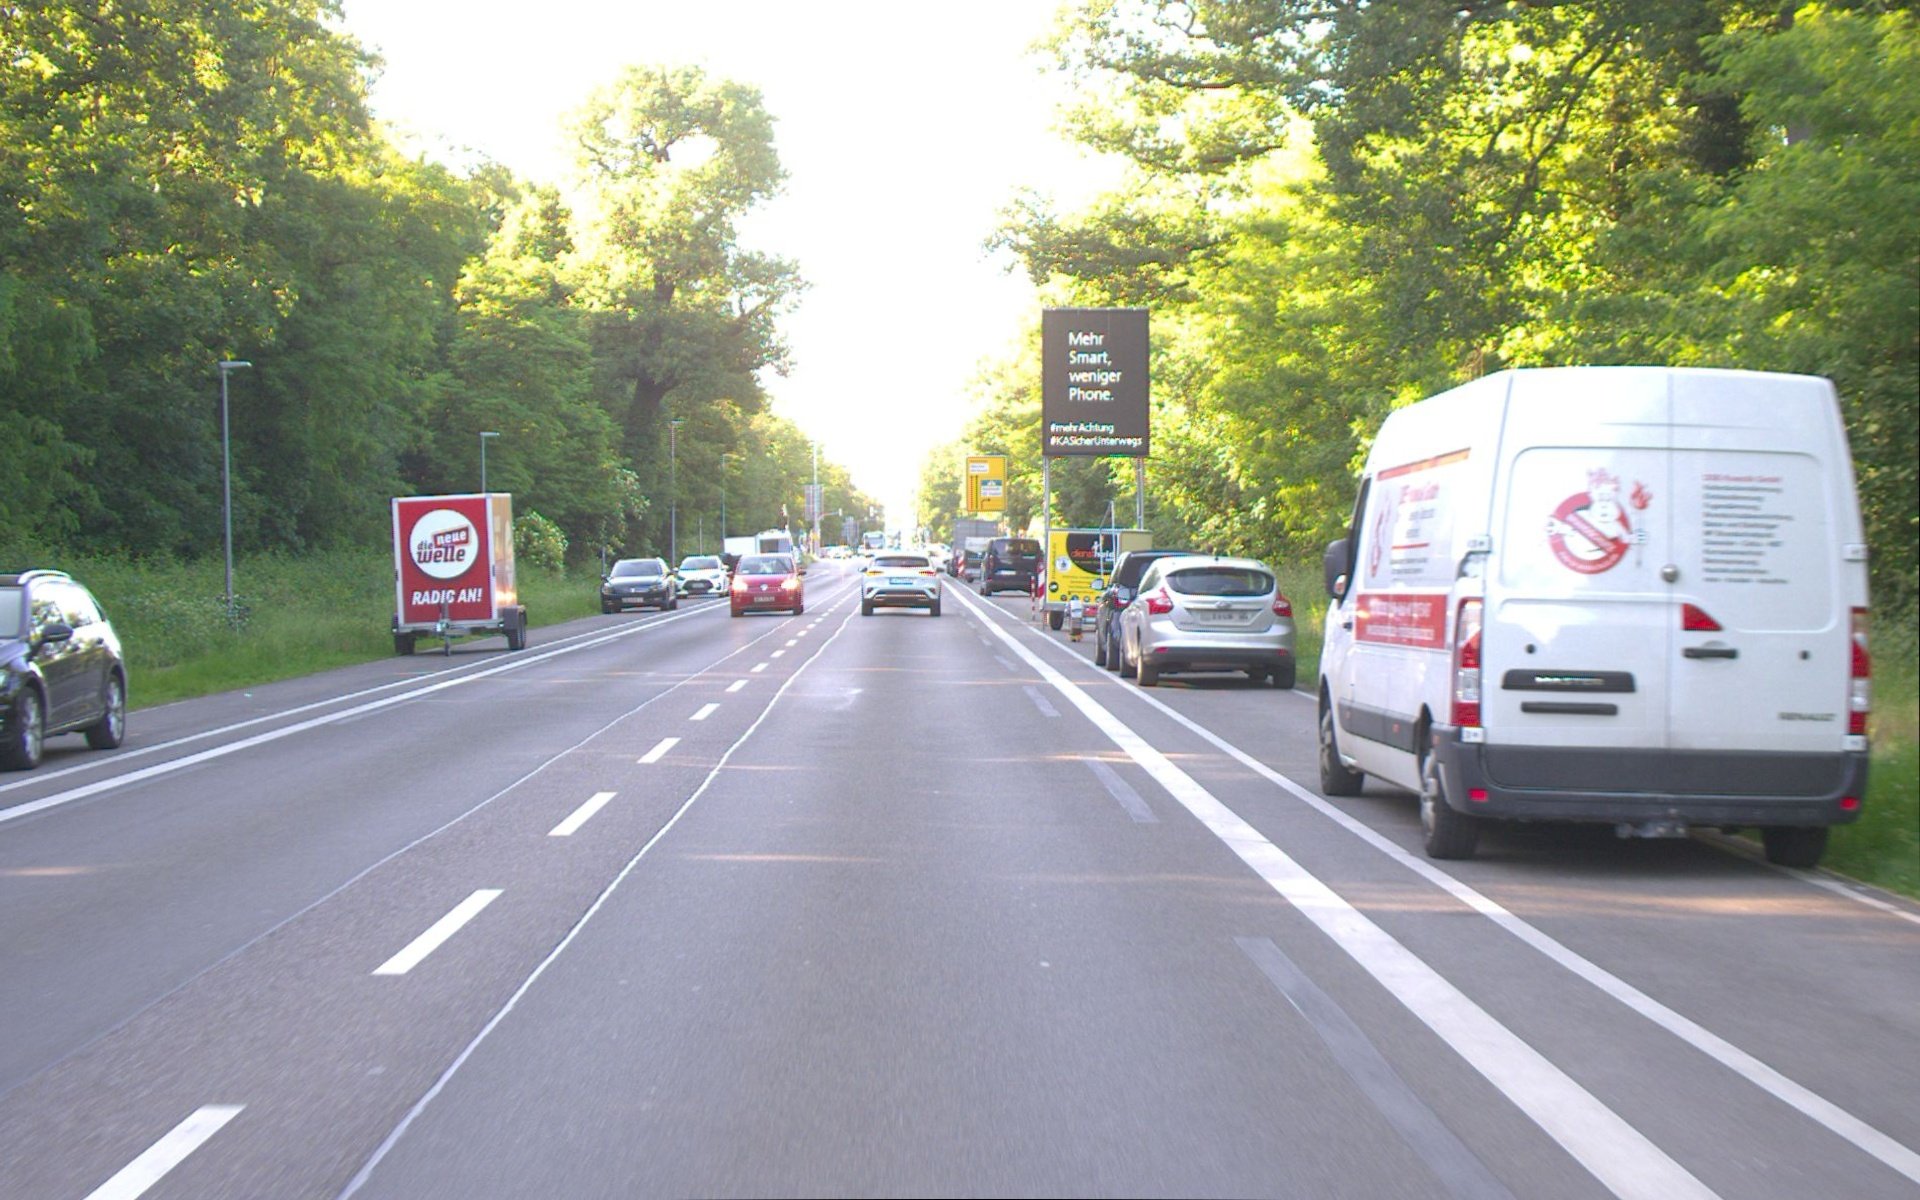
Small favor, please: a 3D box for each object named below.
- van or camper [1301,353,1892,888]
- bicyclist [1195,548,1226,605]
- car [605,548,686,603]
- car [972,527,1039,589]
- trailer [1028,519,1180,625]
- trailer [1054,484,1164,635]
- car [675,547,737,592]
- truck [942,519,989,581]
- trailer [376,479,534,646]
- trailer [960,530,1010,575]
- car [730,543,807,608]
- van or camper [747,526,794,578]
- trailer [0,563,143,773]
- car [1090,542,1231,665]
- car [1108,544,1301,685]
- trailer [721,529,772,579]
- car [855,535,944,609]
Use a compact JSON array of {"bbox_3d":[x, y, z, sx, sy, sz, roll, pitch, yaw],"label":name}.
[{"bbox_3d":[3.272,0.042,19.127,2.125,2.474,6.305,0,1,0],"label":"van or camper"},{"bbox_3d":[5.886,-0.563,80.818,0.610,1.320,1.175,0,1,-1],"label":"bicyclist"},{"bbox_3d":[-8.671,-0.704,94.974,1.855,1.459,4.784,0,1,-1],"label":"car"},{"bbox_3d":[1.530,-1.429,117.077,2.113,2.007,5.040,2,1,0],"label":"car"},{"bbox_3d":[2.860,-0.577,67.543,1.964,2.016,3.840,0,1,19],"label":"trailer"},{"bbox_3d":[2.526,-0.695,59.111,1.613,2.500,4.000,1,1,-1],"label":"trailer"},{"bbox_3d":[-8.999,-1.096,122.000,1.867,1.445,4.071,-3,1,-1],"label":"car"},{"bbox_3d":[0.297,-2.745,191.164,2.505,3.355,7.107,1,1,0],"label":"truck"},{"bbox_3d":[-8.235,-0.622,56.390,1.993,2.612,4.086,-1,1,-1],"label":"trailer"},{"bbox_3d":[1.169,-2.222,161.344,1.616,2.105,2.394,1,1,20],"label":"trailer"},{"bbox_3d":[-4.447,-0.587,80.116,1.604,1.416,3.519,-2,1,-1],"label":"car"},{"bbox_3d":[-10.719,-2.725,194.599,2.302,2.758,5.557,-3,1,-1],"label":"van or camper"},{"bbox_3d":[-7.759,0.463,26.663,1.841,1.461,4.467,0,1,-1],"label":"trailer"},{"bbox_3d":[2.583,0.018,44.878,1.586,1.525,3.011,1,1,-1],"label":"car"},{"bbox_3d":[2.771,0.123,39.824,1.734,1.482,4.401,2,1,-2],"label":"car"},{"bbox_3d":[-10.098,-2.187,163.082,2.075,2.285,3.486,-1,1,1],"label":"trailer"},{"bbox_3d":[-1.392,-0.665,79.757,1.993,1.634,4.000,-1,1,-1],"label":"car"}]
